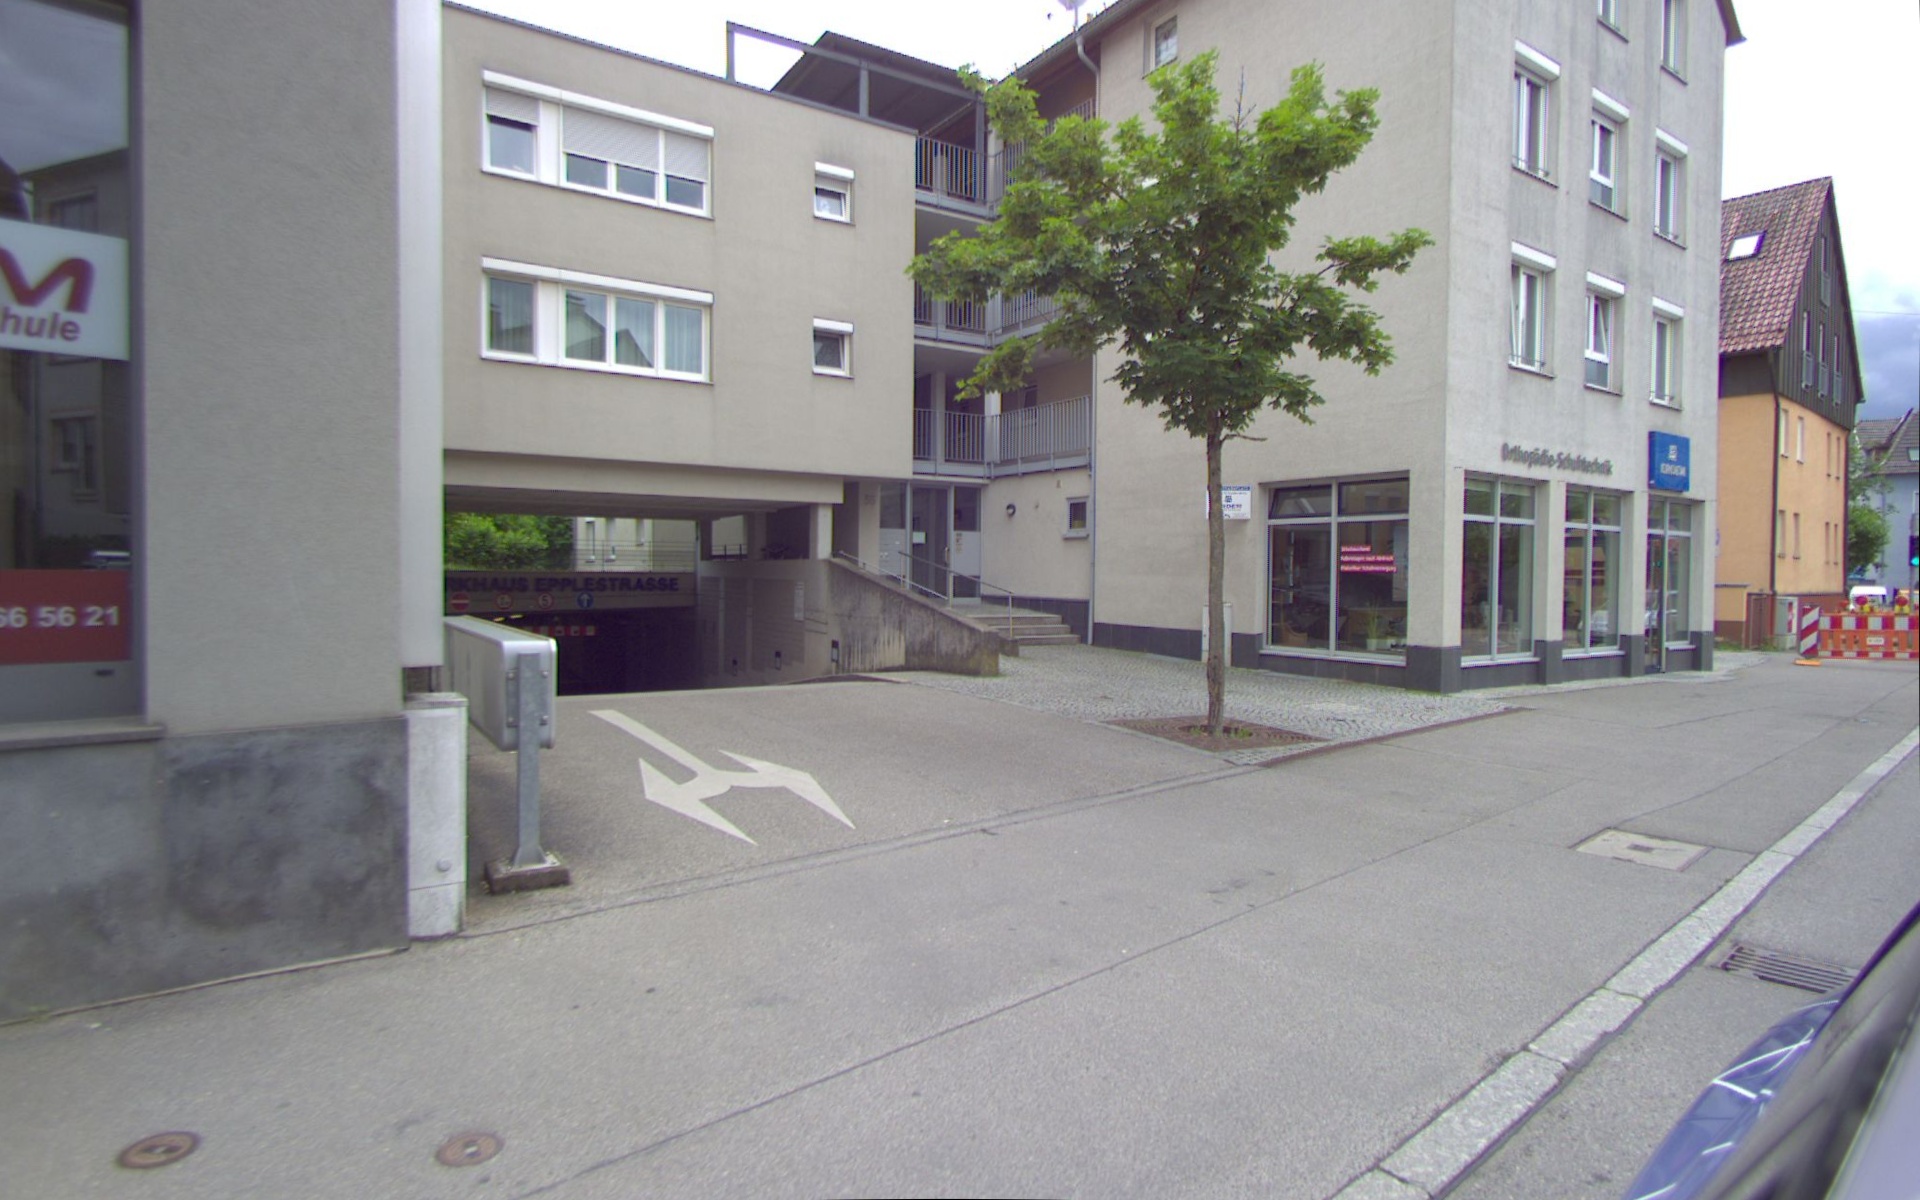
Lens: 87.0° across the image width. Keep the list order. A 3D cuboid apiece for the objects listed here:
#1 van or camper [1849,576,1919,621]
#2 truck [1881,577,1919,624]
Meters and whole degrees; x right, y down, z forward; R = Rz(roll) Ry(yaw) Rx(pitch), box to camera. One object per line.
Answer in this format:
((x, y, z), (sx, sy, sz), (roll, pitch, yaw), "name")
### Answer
((57.997, -0.087, 63.609), (2.311, 2.640, 6.132), (2, 1, 34), "van or camper")
((54.089, 0.080, 56.551), (2.400, 2.496, 6.243), (3, 1, 29), "truck")
